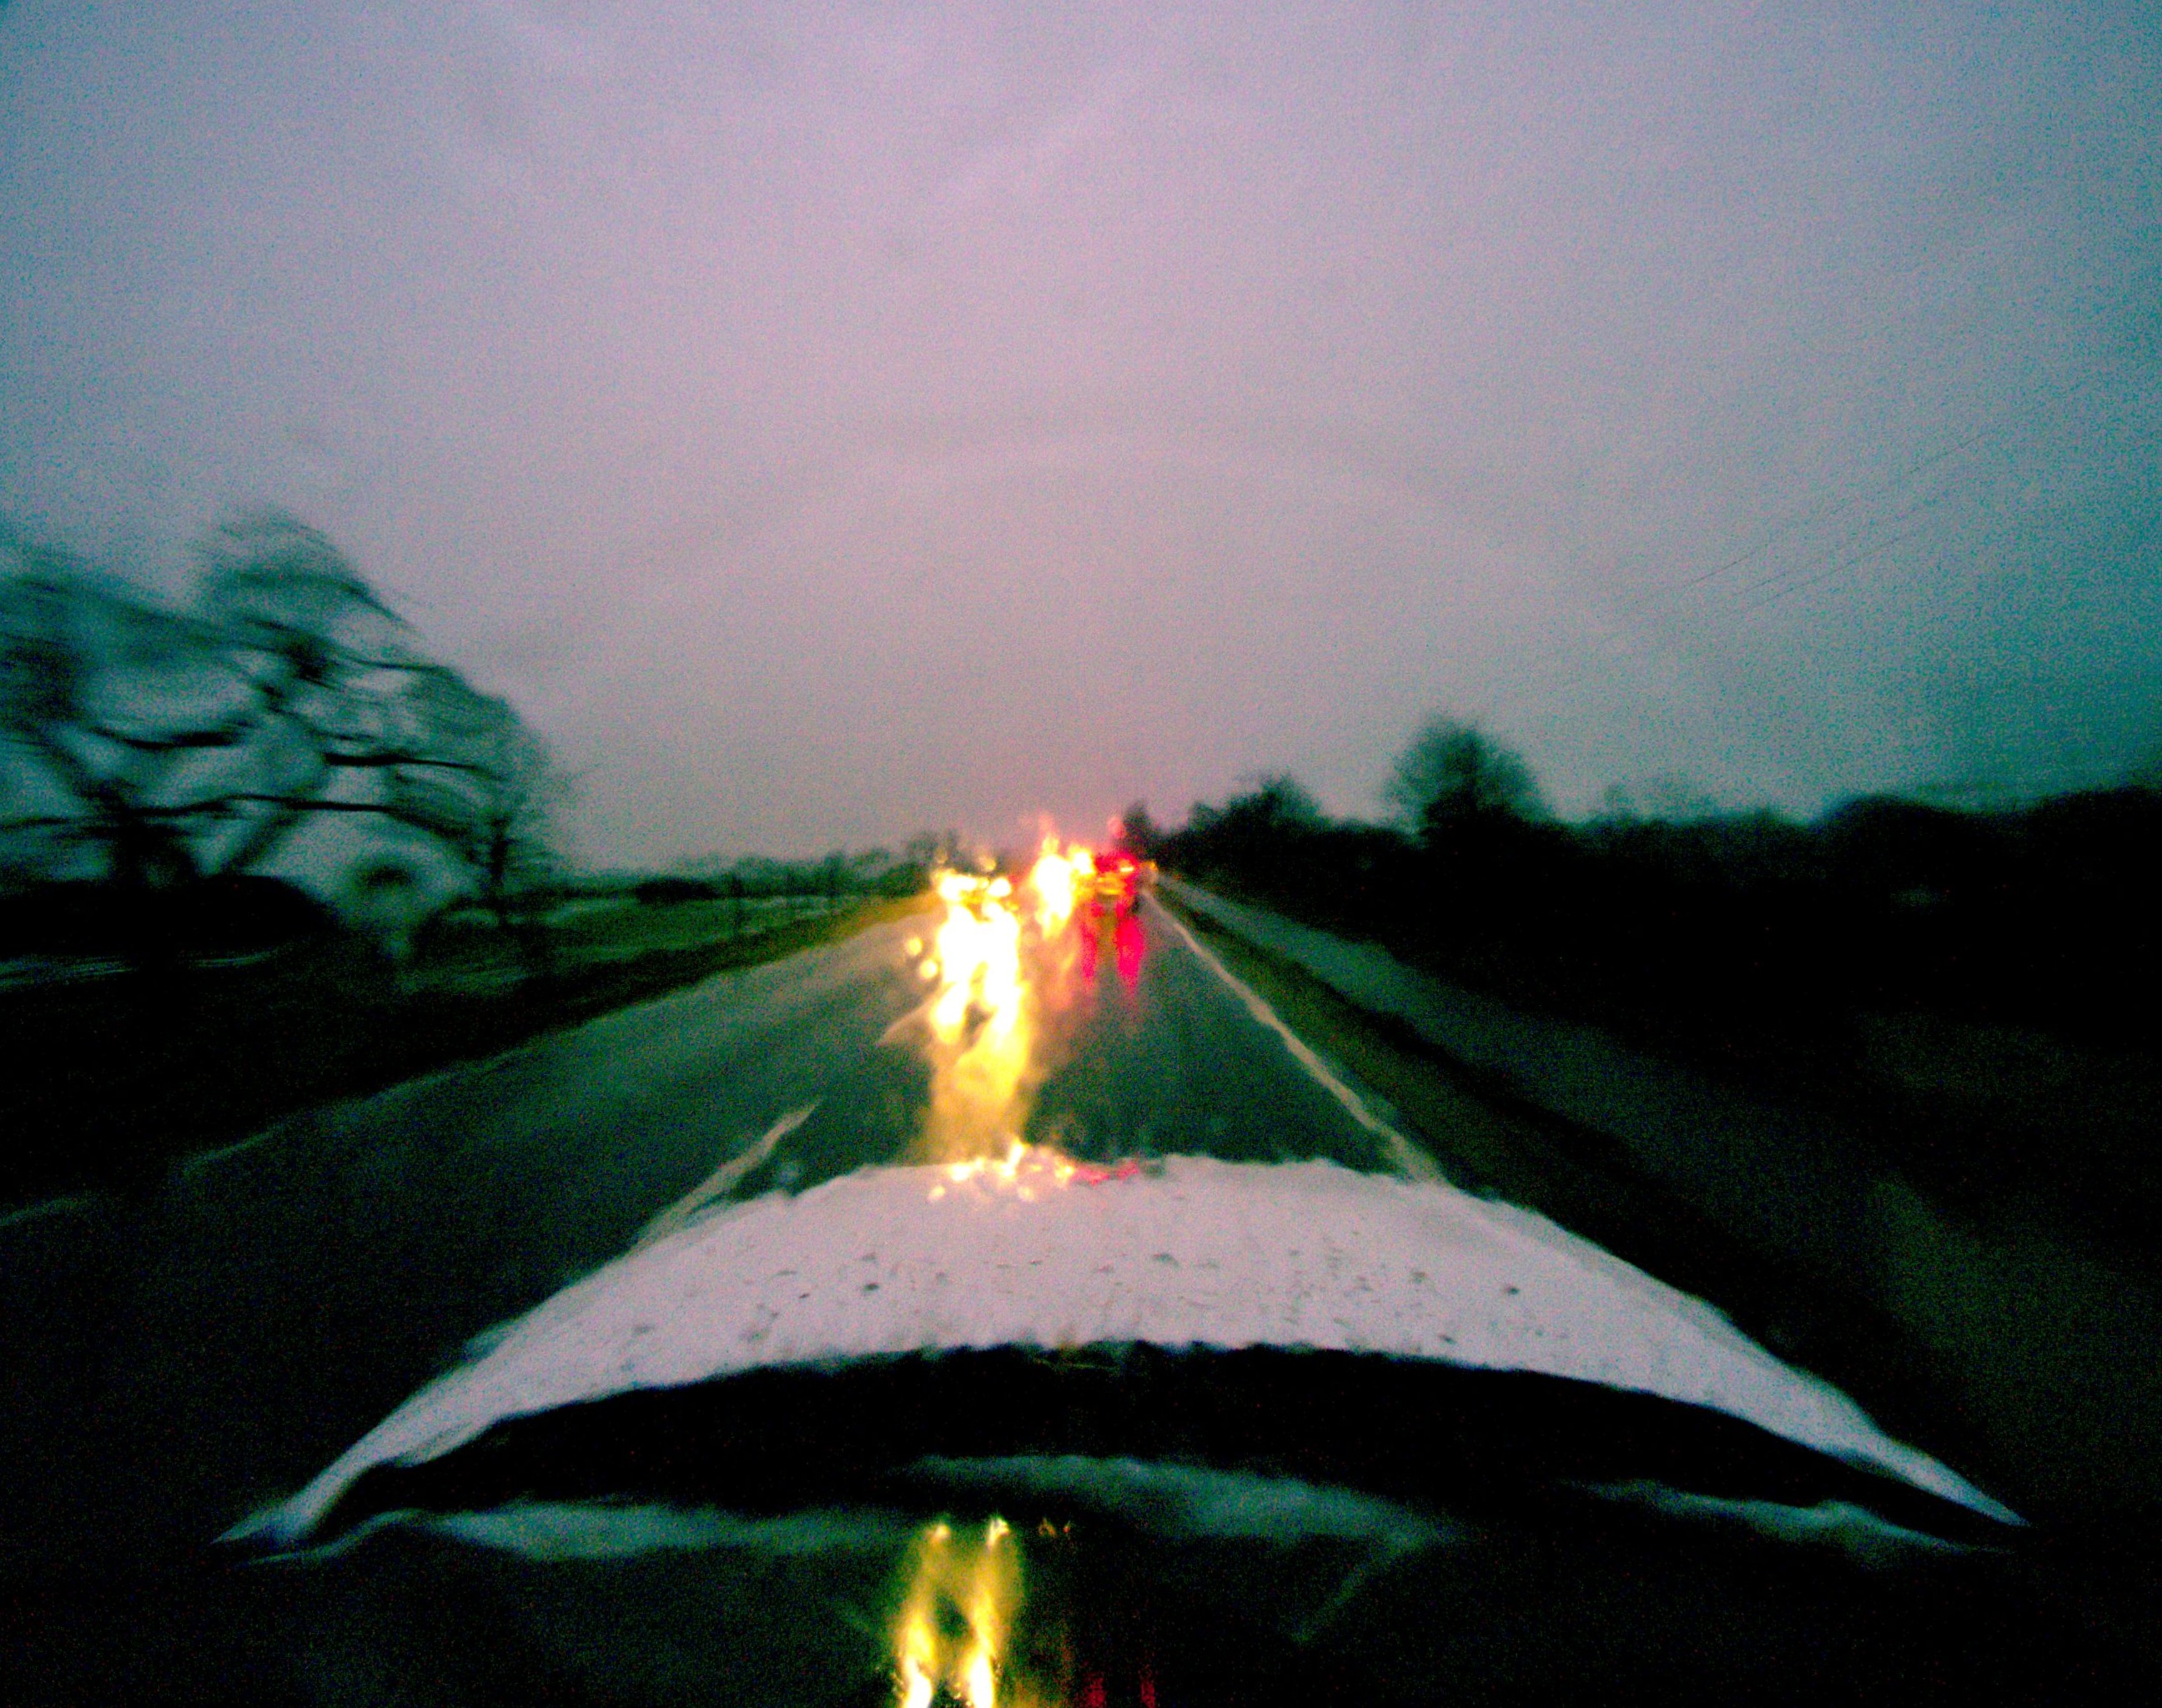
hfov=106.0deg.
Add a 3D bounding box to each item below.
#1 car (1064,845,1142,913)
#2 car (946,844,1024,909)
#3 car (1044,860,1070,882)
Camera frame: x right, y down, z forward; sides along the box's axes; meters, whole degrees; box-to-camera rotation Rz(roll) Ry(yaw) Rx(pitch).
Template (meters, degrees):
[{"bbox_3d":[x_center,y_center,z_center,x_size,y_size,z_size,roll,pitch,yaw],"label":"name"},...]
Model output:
[{"bbox_3d":[0.681,0.682,24.730,2.112,1.820,4.982,-1,0,2],"label":"car"},{"bbox_3d":[-2.967,0.659,26.145,1.818,1.806,4.494,-3,0,1],"label":"car"},{"bbox_3d":[-1.753,1.268,60.575,1.682,1.479,3.775,-3,0,2],"label":"car"}]
